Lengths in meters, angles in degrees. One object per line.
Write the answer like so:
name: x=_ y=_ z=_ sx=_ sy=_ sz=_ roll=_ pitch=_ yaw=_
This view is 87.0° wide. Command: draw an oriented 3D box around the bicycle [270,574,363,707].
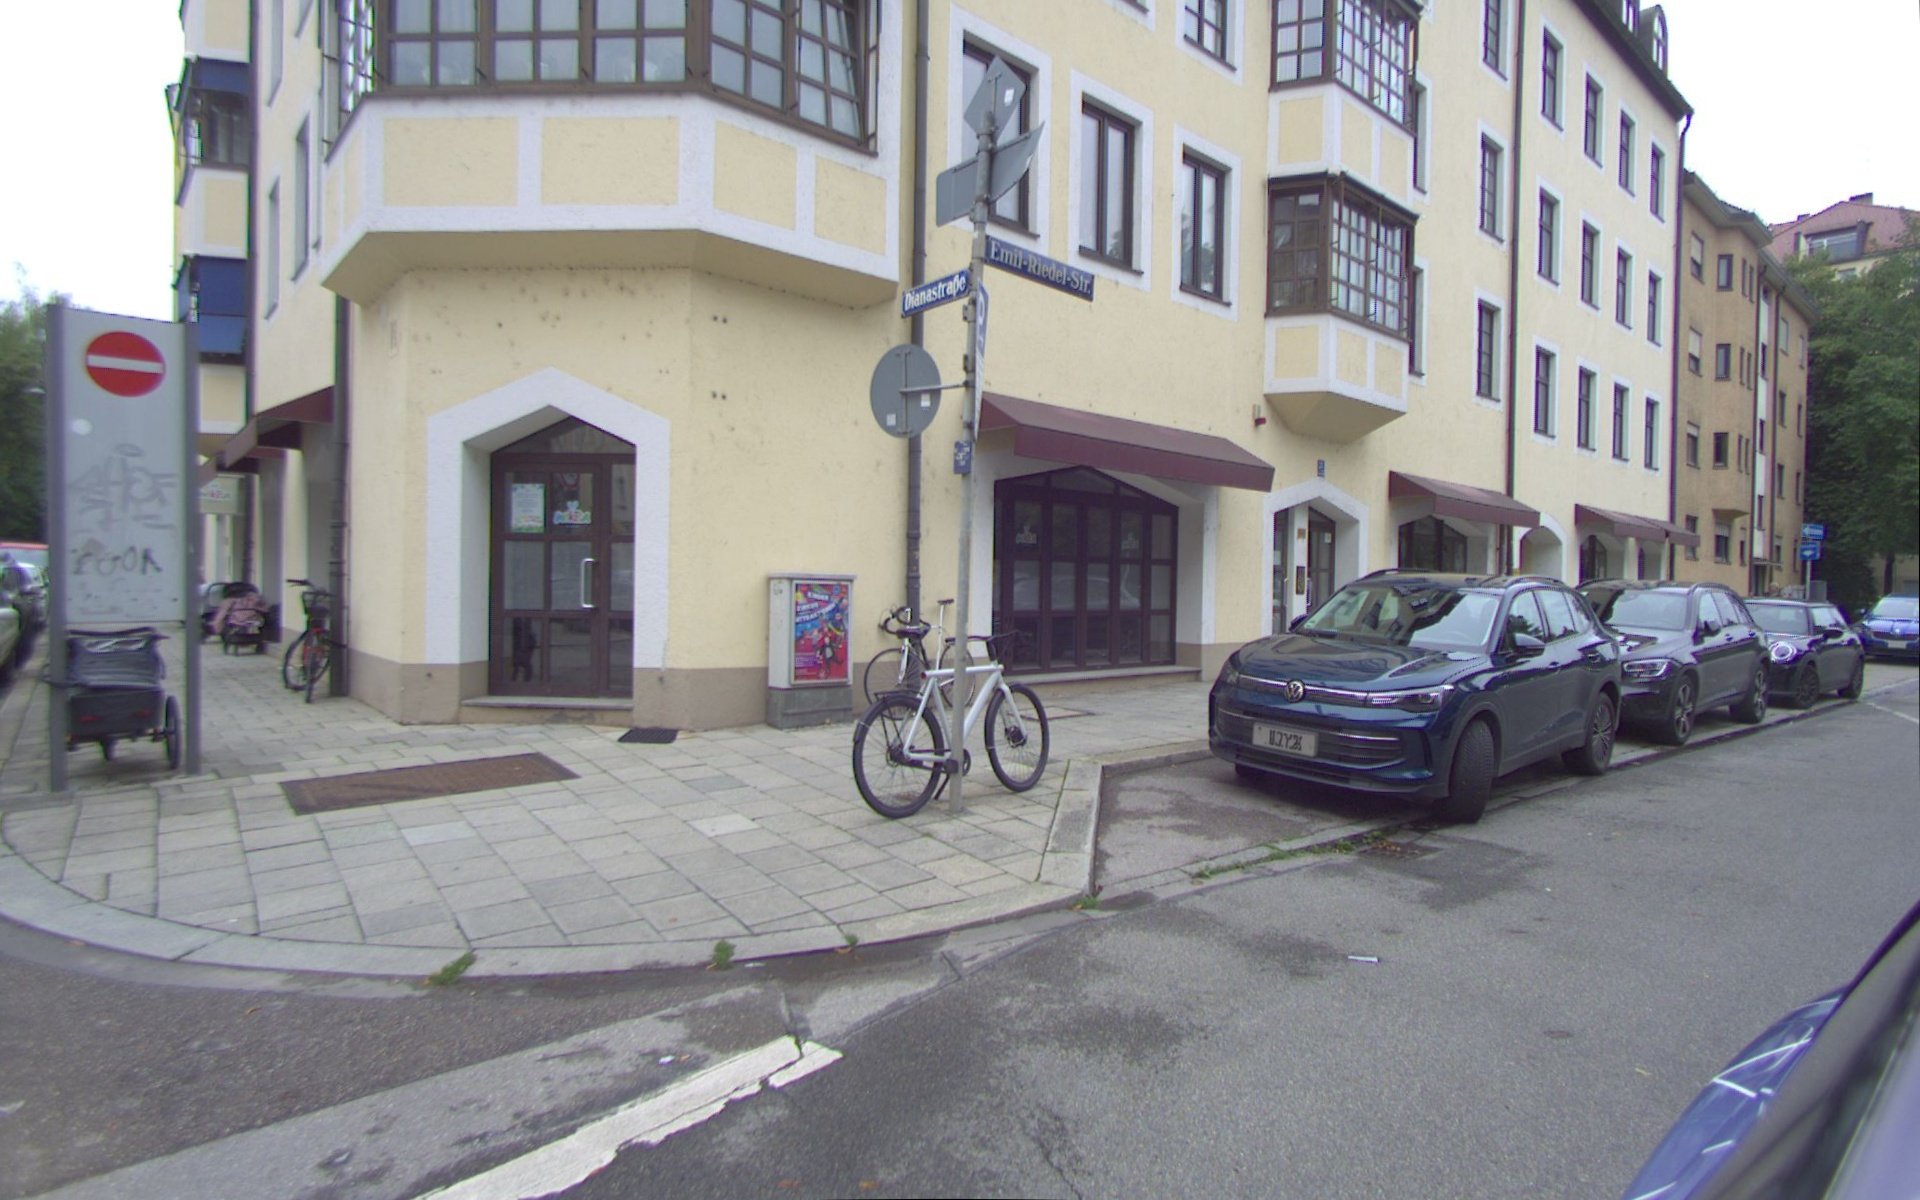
bicycle: x=-6.530 y=0.356 z=10.226 sx=0.506 sy=1.201 sz=1.904 roll=0 pitch=1 yaw=-41

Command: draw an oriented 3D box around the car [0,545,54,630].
car: x=-19.619 y=-0.272 z=20.426 sx=1.944 sy=1.588 sz=4.424 roll=0 pitch=1 yaw=-41

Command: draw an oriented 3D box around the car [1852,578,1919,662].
car: x=21.675 y=0.409 z=22.400 sx=5.514 sy=1.672 sz=1.884 roll=0 pitch=3 yaw=-38

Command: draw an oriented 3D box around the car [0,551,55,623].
car: x=-22.720 y=-0.340 z=23.923 sx=1.944 sy=1.588 sz=4.424 roll=0 pitch=1 yaw=-41

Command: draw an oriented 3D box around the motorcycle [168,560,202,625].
motorcycle: x=-17.009 y=-0.180 z=22.206 sx=0.546 sy=1.356 sz=1.885 roll=0 pitch=2 yaw=-39

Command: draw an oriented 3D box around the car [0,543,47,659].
car: x=-15.089 y=-0.035 z=15.133 sx=1.950 sy=1.604 sz=4.024 roll=-1 pitch=2 yaw=-40

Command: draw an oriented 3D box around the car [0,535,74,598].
car: x=-31.731 y=-1.124 z=34.501 sx=2.028 sy=2.003 sz=4.428 roll=0 pitch=1 yaw=-38

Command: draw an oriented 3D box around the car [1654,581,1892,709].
car: x=11.741 y=0.545 z=14.555 sx=3.860 sy=1.541 sz=1.765 roll=0 pitch=3 yaw=-38

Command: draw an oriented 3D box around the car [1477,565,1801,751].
car: x=7.771 y=0.503 z=11.464 sx=4.089 sy=1.607 sz=1.819 roll=-1 pitch=6 yaw=-39

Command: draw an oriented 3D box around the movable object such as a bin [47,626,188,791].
movable object such as a bin: x=-5.577 y=0.665 z=6.703 sx=0.672 sy=0.911 sz=1.125 roll=0 pitch=2 yaw=-41

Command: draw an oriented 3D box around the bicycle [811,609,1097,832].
bicycle: x=0.030 y=0.674 z=6.416 sx=2.018 sy=1.173 sz=0.430 roll=-1 pitch=3 yaw=-42

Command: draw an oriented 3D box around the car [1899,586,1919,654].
car: x=25.603 y=0.484 z=25.745 sx=4.533 sy=1.673 sz=1.883 roll=0 pitch=0 yaw=-39

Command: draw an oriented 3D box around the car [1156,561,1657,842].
car: x=3.788 y=0.557 z=8.191 sx=4.420 sy=1.643 sz=2.109 roll=0 pitch=1 yaw=-42

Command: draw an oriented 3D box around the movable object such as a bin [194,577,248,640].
movable object such as a bin: x=-12.802 y=0.133 z=17.525 sx=0.672 sy=1.026 sz=1.125 roll=0 pitch=2 yaw=-41

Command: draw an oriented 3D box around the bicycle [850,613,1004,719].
bicycle: x=-0.291 y=0.614 z=9.904 sx=1.665 sy=0.912 sz=0.262 roll=-1 pitch=6 yaw=-41

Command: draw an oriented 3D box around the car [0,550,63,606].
car: x=-28.461 y=-0.673 z=30.561 sx=1.943 sy=1.588 sz=4.426 roll=0 pitch=1 yaw=-40

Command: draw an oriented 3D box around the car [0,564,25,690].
car: x=-11.784 y=0.294 z=11.366 sx=1.609 sy=1.353 sz=3.454 roll=-1 pitch=3 yaw=-38

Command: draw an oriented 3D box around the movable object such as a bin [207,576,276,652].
movable object such as a bin: x=-10.977 y=0.194 z=15.451 sx=0.754 sy=1.094 sz=1.125 roll=0 pitch=2 yaw=-41
